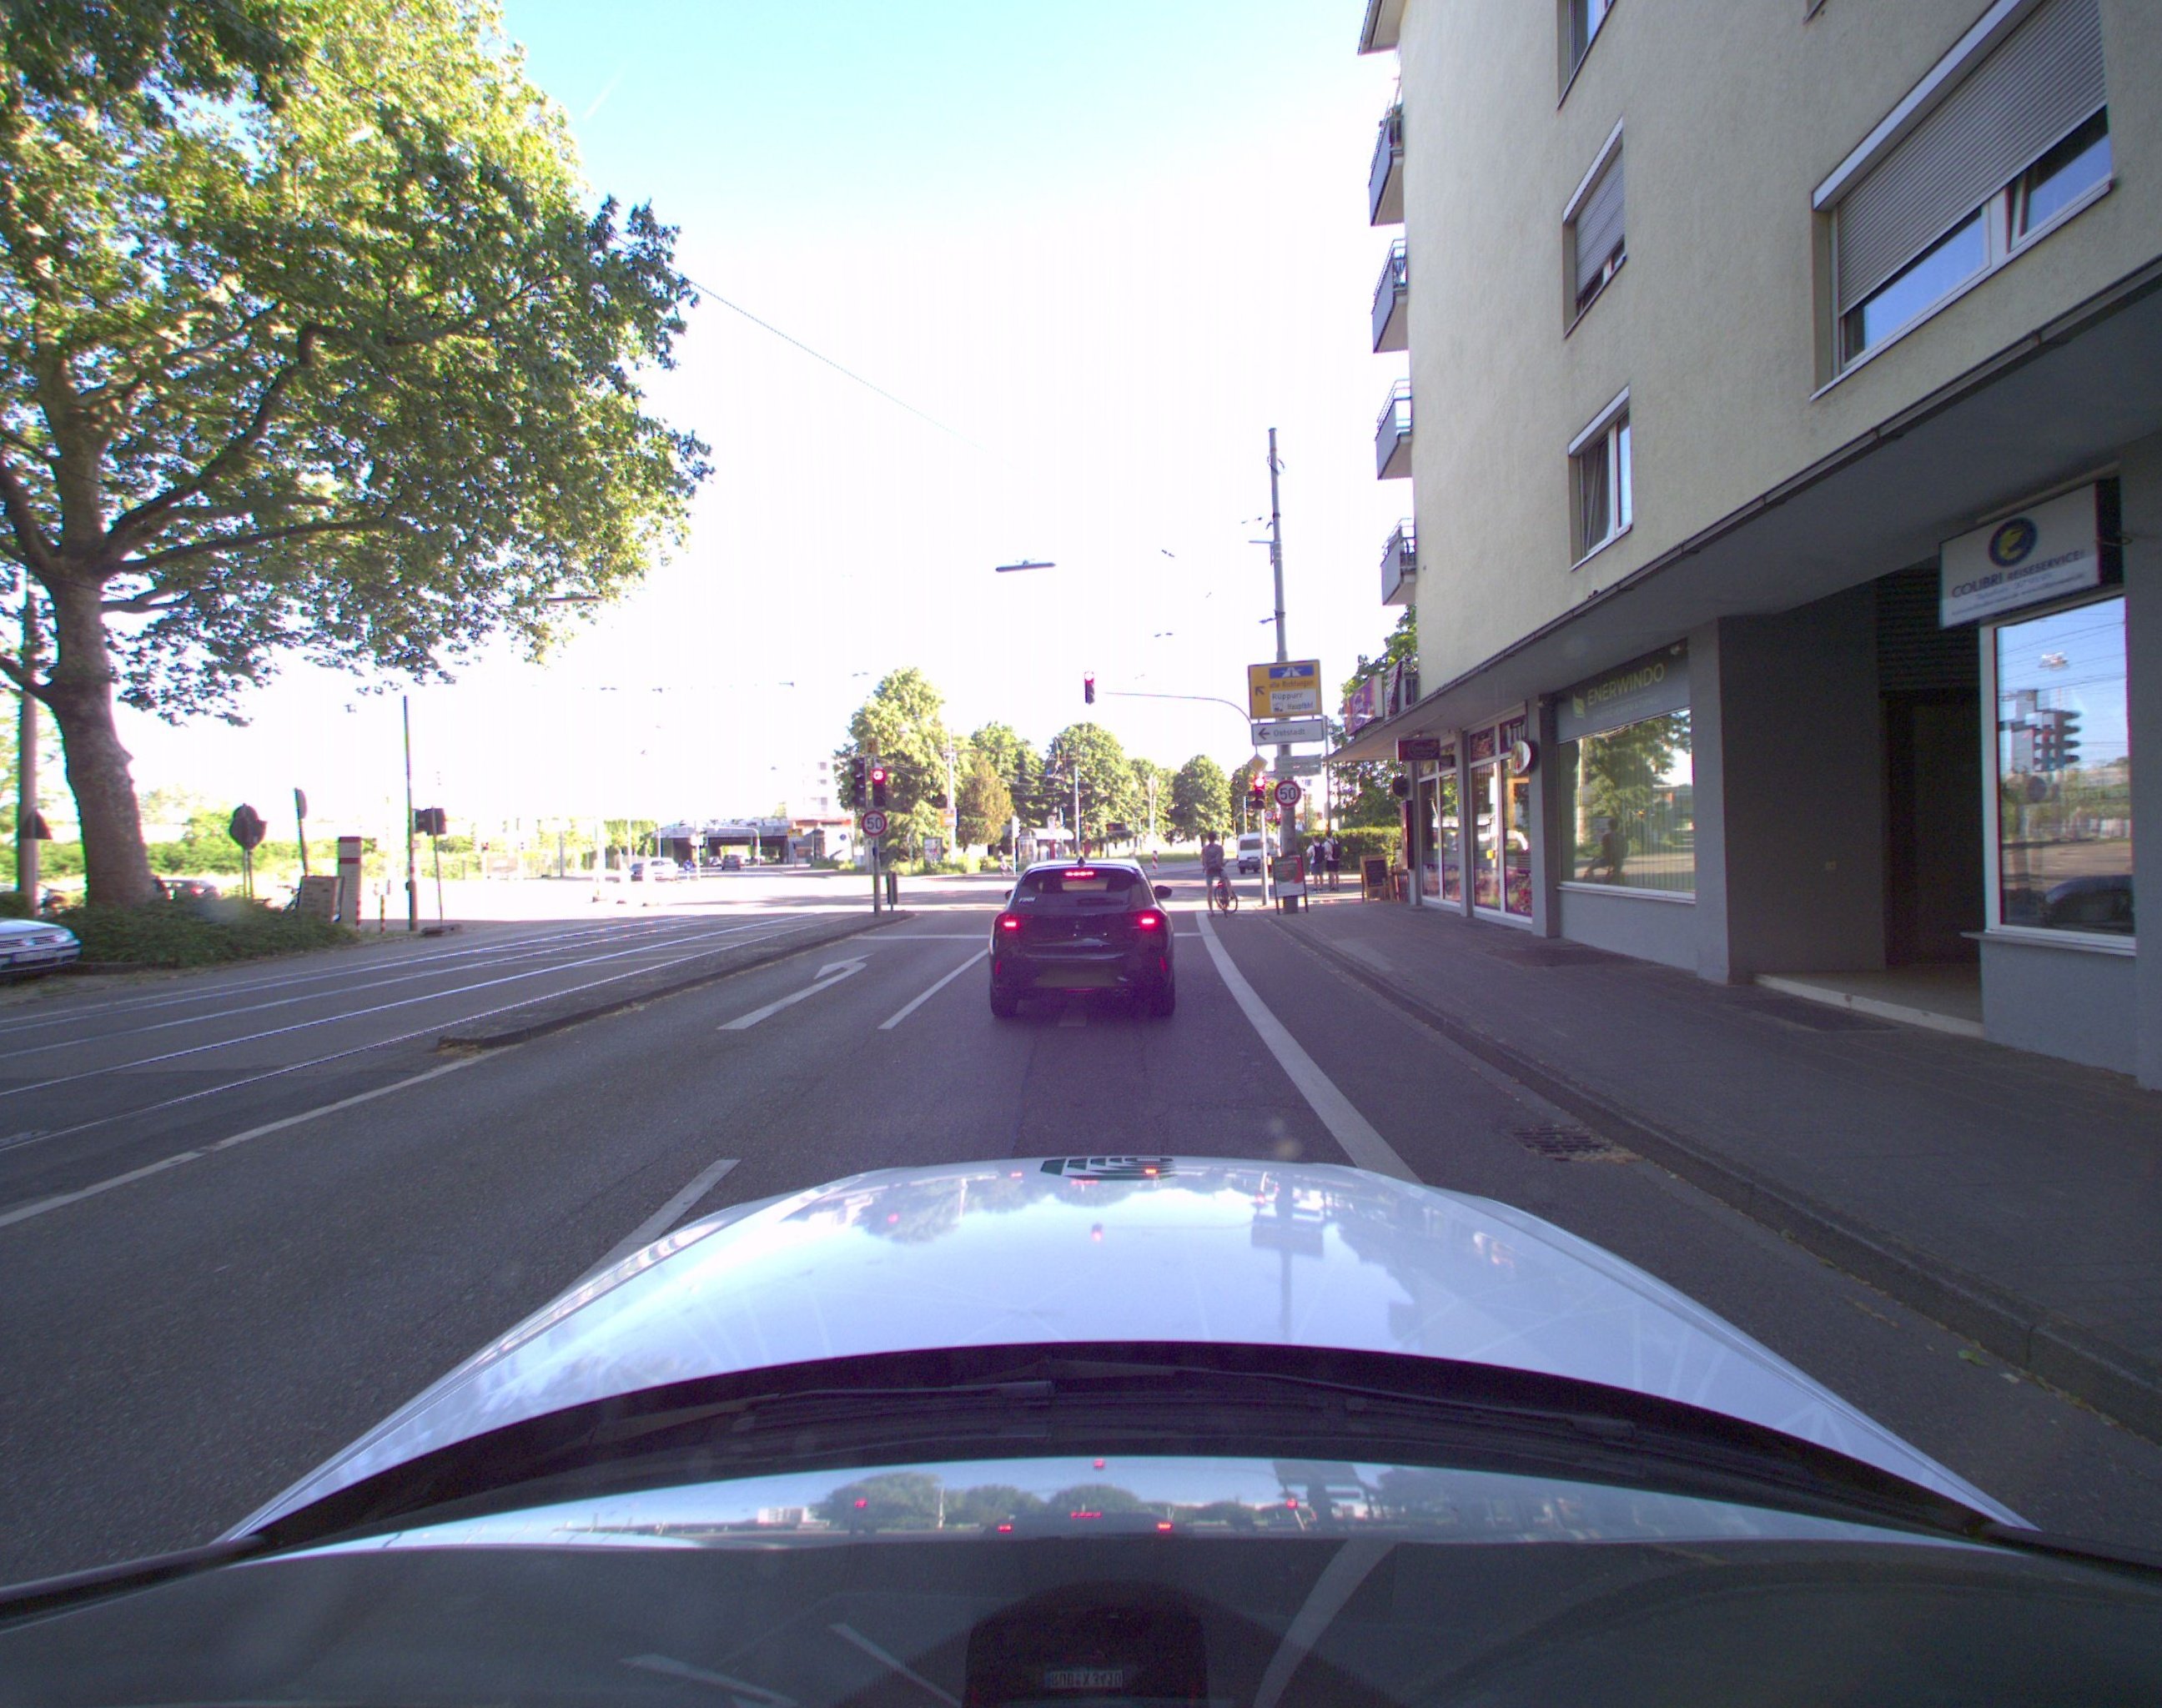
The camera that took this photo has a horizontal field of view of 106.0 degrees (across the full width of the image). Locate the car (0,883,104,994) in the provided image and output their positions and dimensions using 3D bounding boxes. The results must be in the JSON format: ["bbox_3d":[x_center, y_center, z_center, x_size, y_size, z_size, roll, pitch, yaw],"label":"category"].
[{"bbox_3d":[-16.630,1.193,11.340,3.957,1.453,1.670,-1,0,-1],"label":"car"}]

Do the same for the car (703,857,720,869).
[{"bbox_3d":[-51.287,1.266,113.109,1.892,1.585,3.809,0,-1,-21],"label":"car"}]

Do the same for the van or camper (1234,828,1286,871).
[{"bbox_3d":[10.197,-0.231,46.224,2.011,2.310,4.565,-1,-1,23],"label":"van or camper"}]

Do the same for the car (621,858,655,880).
[{"bbox_3d":[-35.624,1.193,65.590,1.805,1.662,4.325,-2,0,-21],"label":"car"}]

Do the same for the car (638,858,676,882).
[{"bbox_3d":[-29.232,1.062,56.236,1.892,1.585,3.809,0,-1,-21],"label":"car"}]

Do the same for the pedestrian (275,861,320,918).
[{"bbox_3d":[-23.455,1.039,24.385,0.777,1.661,0.946,0,-1,-32],"label":"pedestrian"}]

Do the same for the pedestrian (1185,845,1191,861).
[{"bbox_3d":[13.062,-0.096,99.344,0.600,1.872,0.521,-1,-1,9],"label":"pedestrian"}]

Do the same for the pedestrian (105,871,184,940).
[{"bbox_3d":[-22.910,1.245,19.939,0.842,1.647,0.931,0,-1,1],"label":"pedestrian"}]

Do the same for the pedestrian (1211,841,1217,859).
[{"bbox_3d":[14.422,-0.442,88.476,0.601,1.872,0.519,0,-1,1],"label":"pedestrian"}]

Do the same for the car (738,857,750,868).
[{"bbox_3d":[-54.300,1.391,131.193,1.761,1.684,3.713,0,-1,-22],"label":"car"}]

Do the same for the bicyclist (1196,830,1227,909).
[{"bbox_3d":[2.862,0.329,17.802,0.529,1.692,0.571,-2,0,19],"label":"bicyclist"}]

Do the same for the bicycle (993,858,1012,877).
[{"bbox_3d":[-4.468,0.757,46.520,0.793,1.064,2.186,-2,0,2],"label":"bicycle"}]

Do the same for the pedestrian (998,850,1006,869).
[{"bbox_3d":[-6.314,0.448,65.096,0.568,1.472,0.666,-2,0,1],"label":"pedestrian"}]

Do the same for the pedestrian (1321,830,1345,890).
[{"bbox_3d":[7.874,0.191,25.434,0.627,1.820,0.749,-1,-1,22],"label":"pedestrian"}]

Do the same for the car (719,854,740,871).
[{"bbox_3d":[-39.625,0.943,91.872,1.915,1.881,4.812,-2,0,-20],"label":"car"}]

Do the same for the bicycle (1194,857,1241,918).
[{"bbox_3d":[3.025,0.710,17.957,0.747,1.235,2.024,-2,0,16],"label":"bicycle"}]

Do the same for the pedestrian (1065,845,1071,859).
[{"bbox_3d":[-1.691,-0.236,105.277,0.736,1.872,0.661,0,-1,-4],"label":"pedestrian"}]

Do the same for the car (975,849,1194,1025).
[{"bbox_3d":[0.092,0.698,8.928,1.833,1.462,3.985,-1,0,2],"label":"car"}]

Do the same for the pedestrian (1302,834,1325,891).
[{"bbox_3d":[7.283,0.268,25.495,0.627,1.763,0.585,-1,-1,22],"label":"pedestrian"}]
